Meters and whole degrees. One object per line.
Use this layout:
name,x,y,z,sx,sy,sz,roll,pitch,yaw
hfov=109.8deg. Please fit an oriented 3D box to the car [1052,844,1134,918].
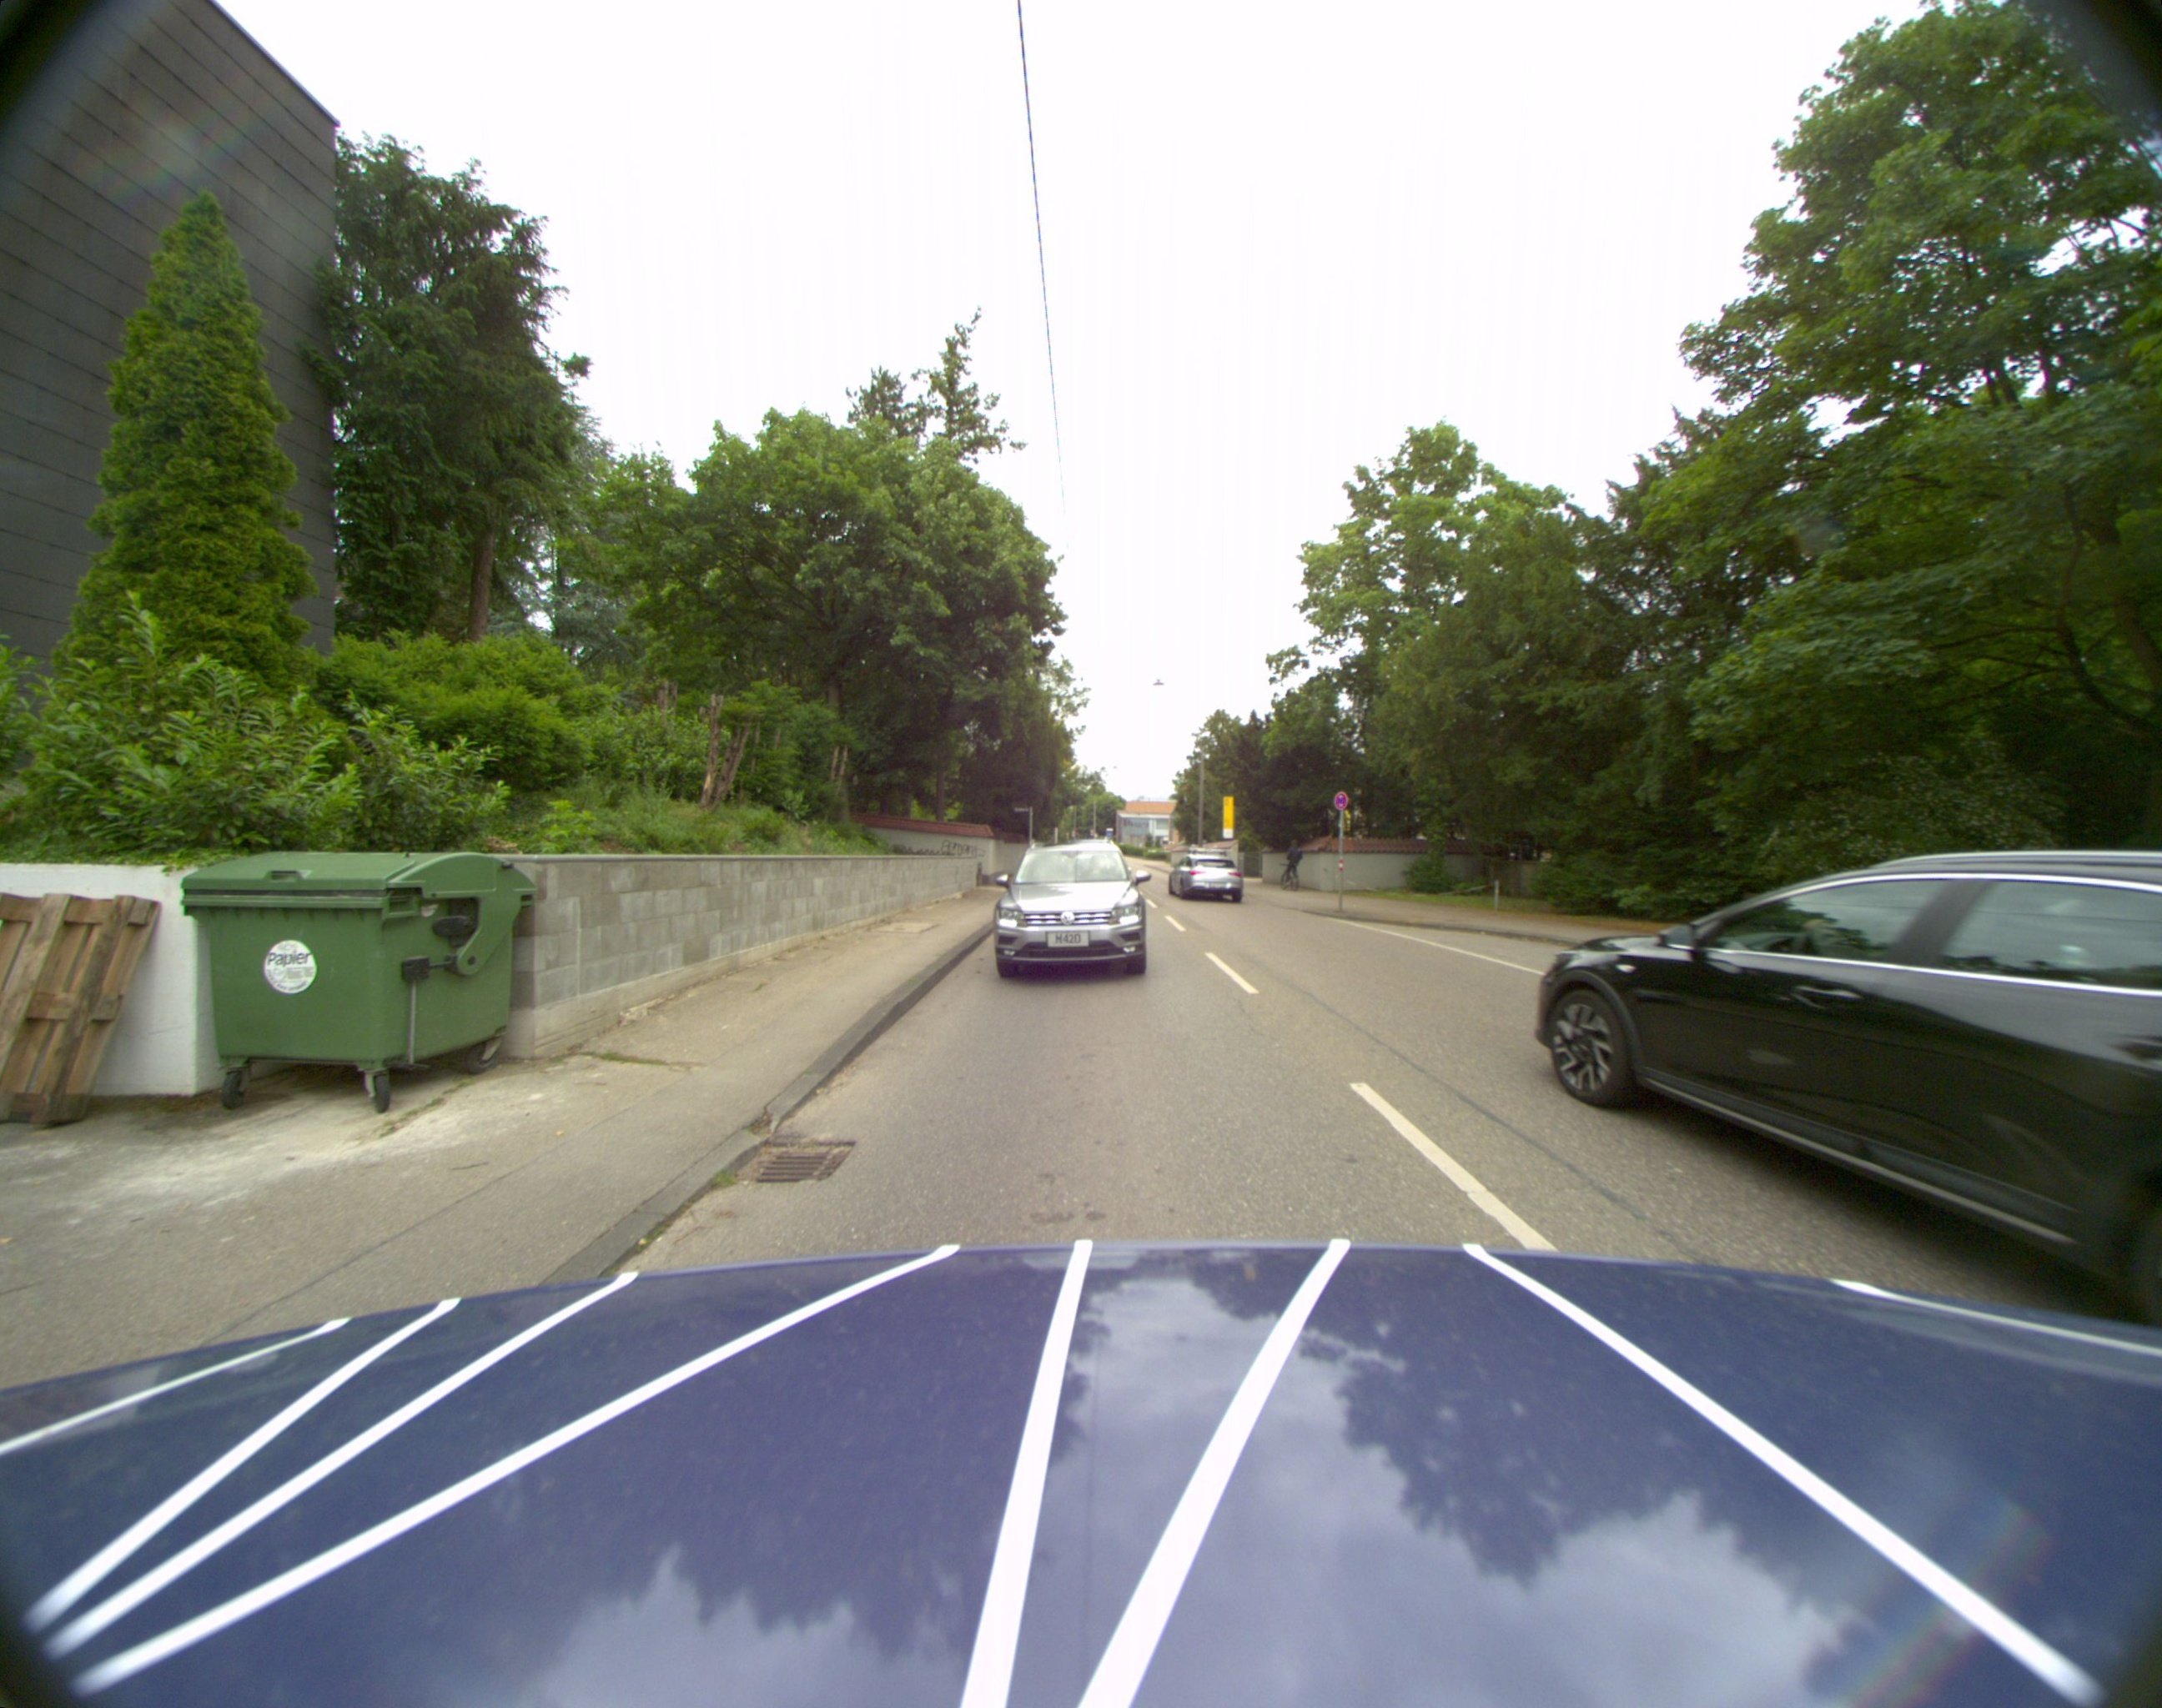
car,0.293,0.575,19.349,1.820,1.647,4.487,-1,1,0

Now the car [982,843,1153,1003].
car,-0.128,0.727,10.662,1.820,1.690,4.718,-2,1,0

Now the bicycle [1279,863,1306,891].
bicycle,7.906,0.834,28.440,0.496,0.959,1.748,-3,1,1

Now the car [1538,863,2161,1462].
car,3.688,0.857,2.698,1.705,1.475,3.999,2,1,1

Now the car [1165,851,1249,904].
car,3.861,0.666,23.969,1.761,1.395,4.413,2,1,-1

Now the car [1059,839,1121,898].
car,0.289,0.395,24.920,1.820,1.733,4.487,-1,1,0

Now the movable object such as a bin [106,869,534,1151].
movable object such as a bin,-4.400,0.830,4.552,1.407,1.443,1.116,0,1,1

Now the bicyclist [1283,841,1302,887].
bicyclist,7.876,0.351,28.273,0.489,1.674,0.588,-3,1,1
